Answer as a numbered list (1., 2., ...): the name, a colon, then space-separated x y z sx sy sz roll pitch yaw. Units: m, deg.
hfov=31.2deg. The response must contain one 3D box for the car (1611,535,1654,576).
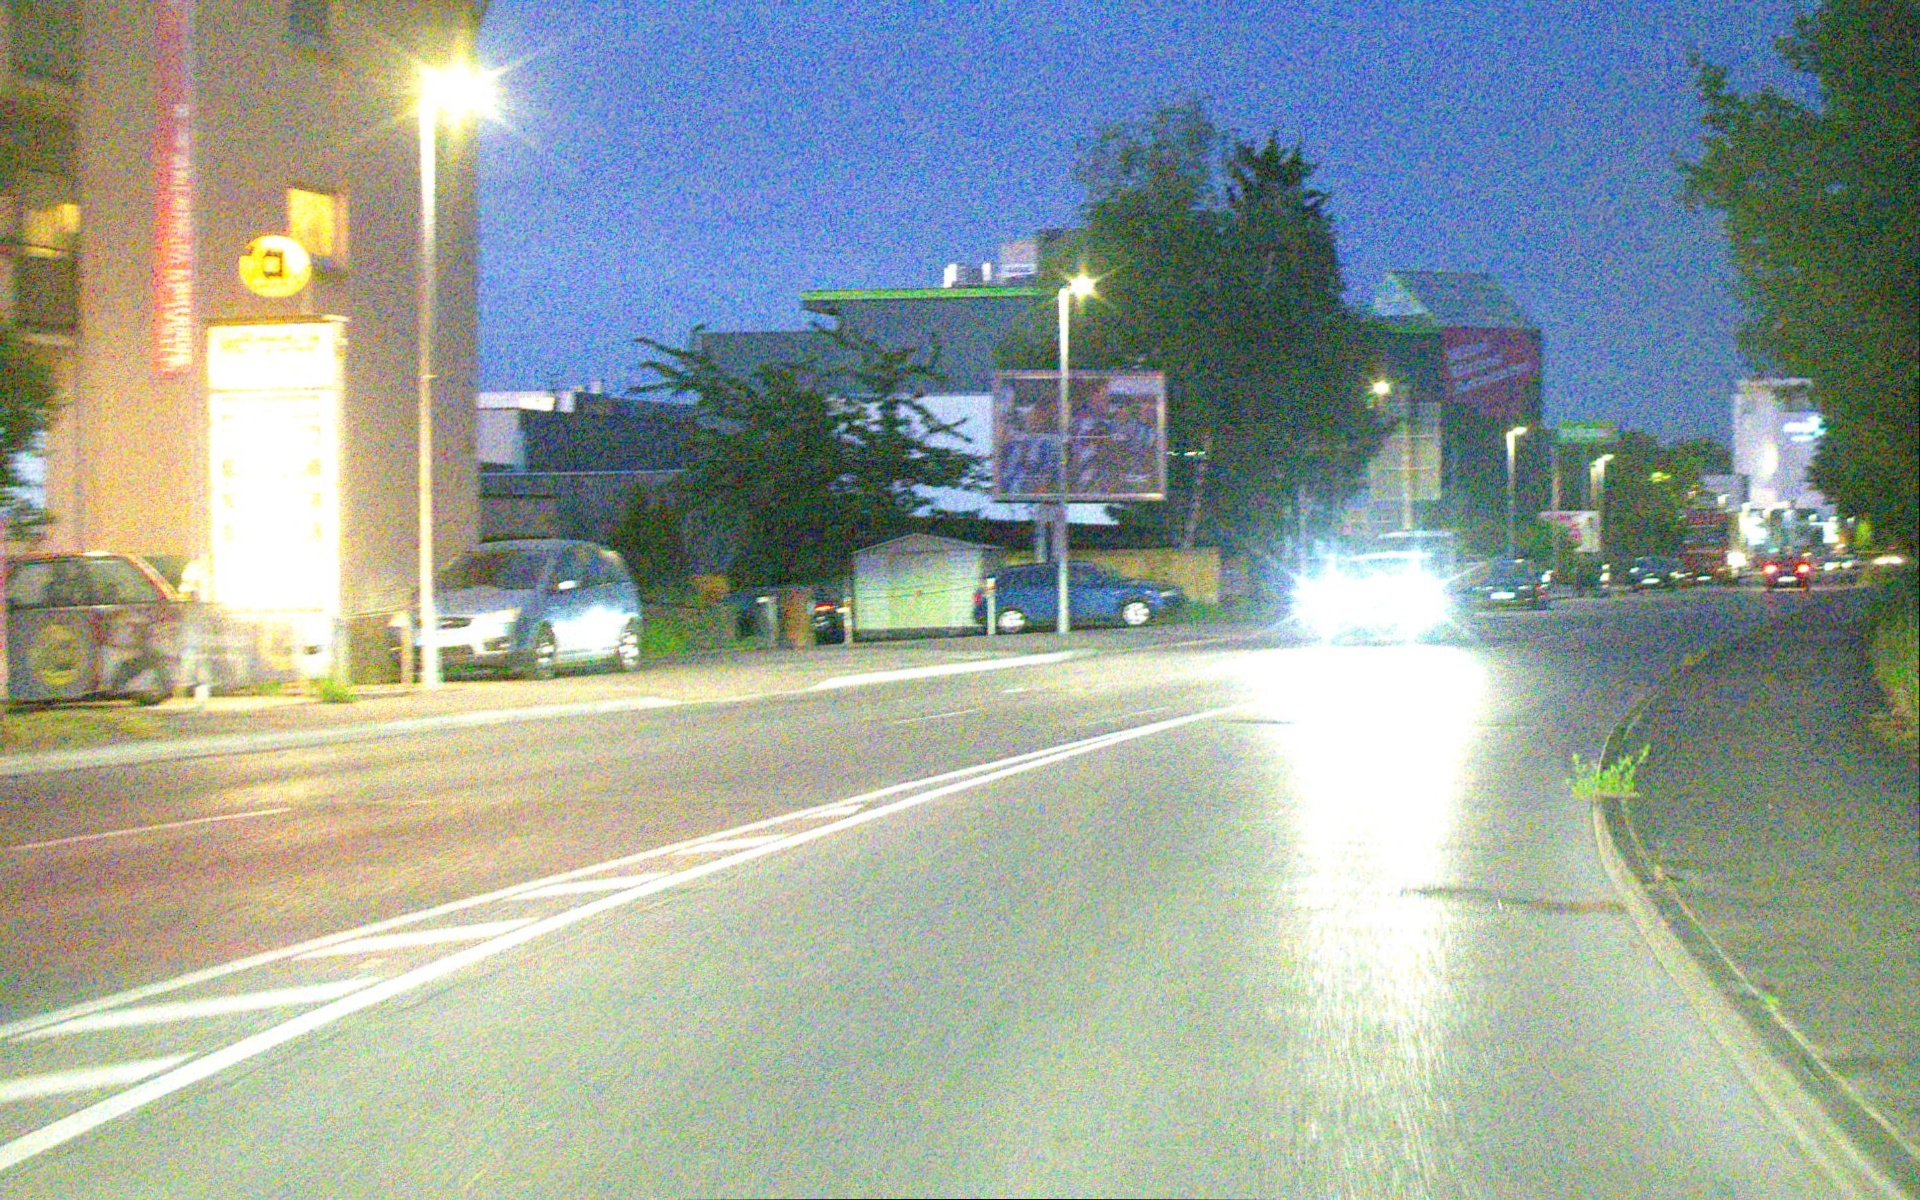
1. car: 28.804 -1.898 147.342 1.726 1.733 3.806 -1 1 10

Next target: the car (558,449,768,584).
1. car: -4.691 -1.371 54.843 1.995 2.006 3.997 3 3 16

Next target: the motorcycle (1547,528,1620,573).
1. motorcycle: 29.096 -2.323 160.286 1.321 2.006 3.990 4 4 43

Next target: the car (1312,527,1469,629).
1. car: 7.222 -0.398 57.351 1.757 1.602 4.448 -1 1 18

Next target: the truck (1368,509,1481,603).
1. truck: 11.163 -1.054 82.253 2.249 2.122 5.977 -1 1 12

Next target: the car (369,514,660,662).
1. car: -5.076 -0.166 39.803 1.756 1.602 4.449 1 1 15

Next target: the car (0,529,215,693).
1. car: -8.581 0.072 30.846 1.547 1.415 3.692 1 1 33

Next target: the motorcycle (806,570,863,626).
1. motorcycle: -2.668 -0.051 73.292 0.985 1.140 1.848 1 1 5

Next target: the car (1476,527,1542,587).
1. car: 15.364 -1.211 96.100 1.718 1.612 3.837 -1 1 10

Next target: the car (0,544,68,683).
1. car: -10.297 0.136 32.187 1.547 1.307 3.692 1 1 33

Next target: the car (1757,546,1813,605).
1. car: 31.727 -0.952 132.204 1.995 2.006 3.998 -3 2 14

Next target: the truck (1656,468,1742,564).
1. truck: 39.499 -4.533 183.950 3.842 4.874 6.352 2 3 8

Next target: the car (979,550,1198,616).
1. car: 2.697 -0.357 72.022 4.350 1.355 1.642 0 1 13

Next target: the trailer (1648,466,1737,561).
1. trailer: 40.186 -4.827 188.984 3.842 4.874 10.807 2 3 8
